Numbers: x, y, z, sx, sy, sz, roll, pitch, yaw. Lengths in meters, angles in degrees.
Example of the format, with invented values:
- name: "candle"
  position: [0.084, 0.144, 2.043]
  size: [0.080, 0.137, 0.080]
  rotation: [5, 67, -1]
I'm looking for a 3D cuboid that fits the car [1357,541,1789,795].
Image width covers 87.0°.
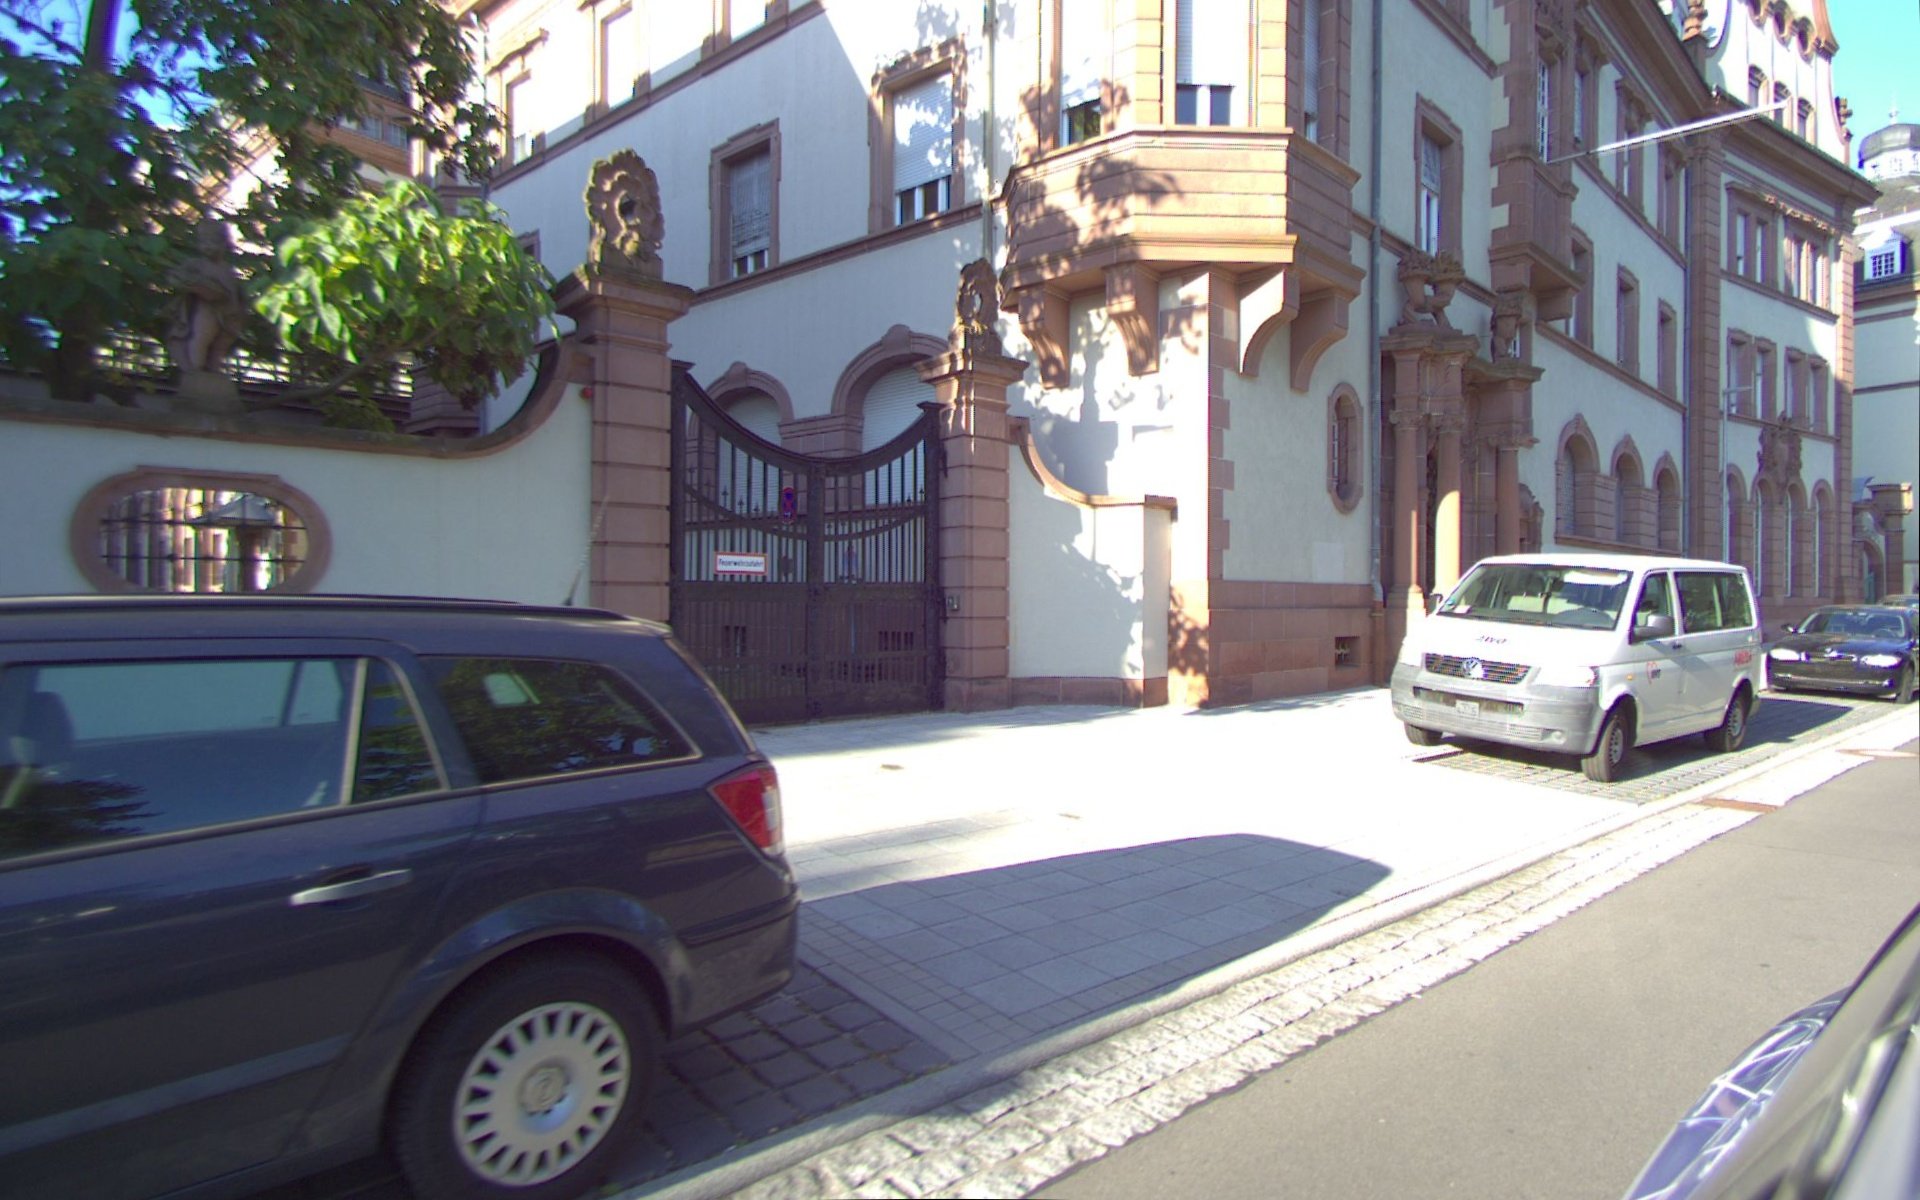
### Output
- name: "car"
  position: [6.293, 0.475, 10.187]
  size: [4.758, 1.990, 2.000]
  rotation: [0, 3, -36]

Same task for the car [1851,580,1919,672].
- name: "car"
  position: [18.947, 0.512, 19.592]
  size: [4.116, 1.622, 1.821]
  rotation: [1, 2, -39]

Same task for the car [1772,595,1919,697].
- name: "car"
  position: [14.709, 0.671, 16.236]
  size: [4.121, 1.420, 1.684]
  rotation: [1, 0, -37]

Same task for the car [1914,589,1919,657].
- name: "car"
  position: [23.114, 0.578, 22.640]
  size: [4.439, 1.454, 1.877]
  rotation: [1, 2, -38]

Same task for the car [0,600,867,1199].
- name: "car"
  position: [-2.519, 0.760, 2.251]
  size: [4.398, 1.485, 1.751]
  rotation: [1, 1, -41]
